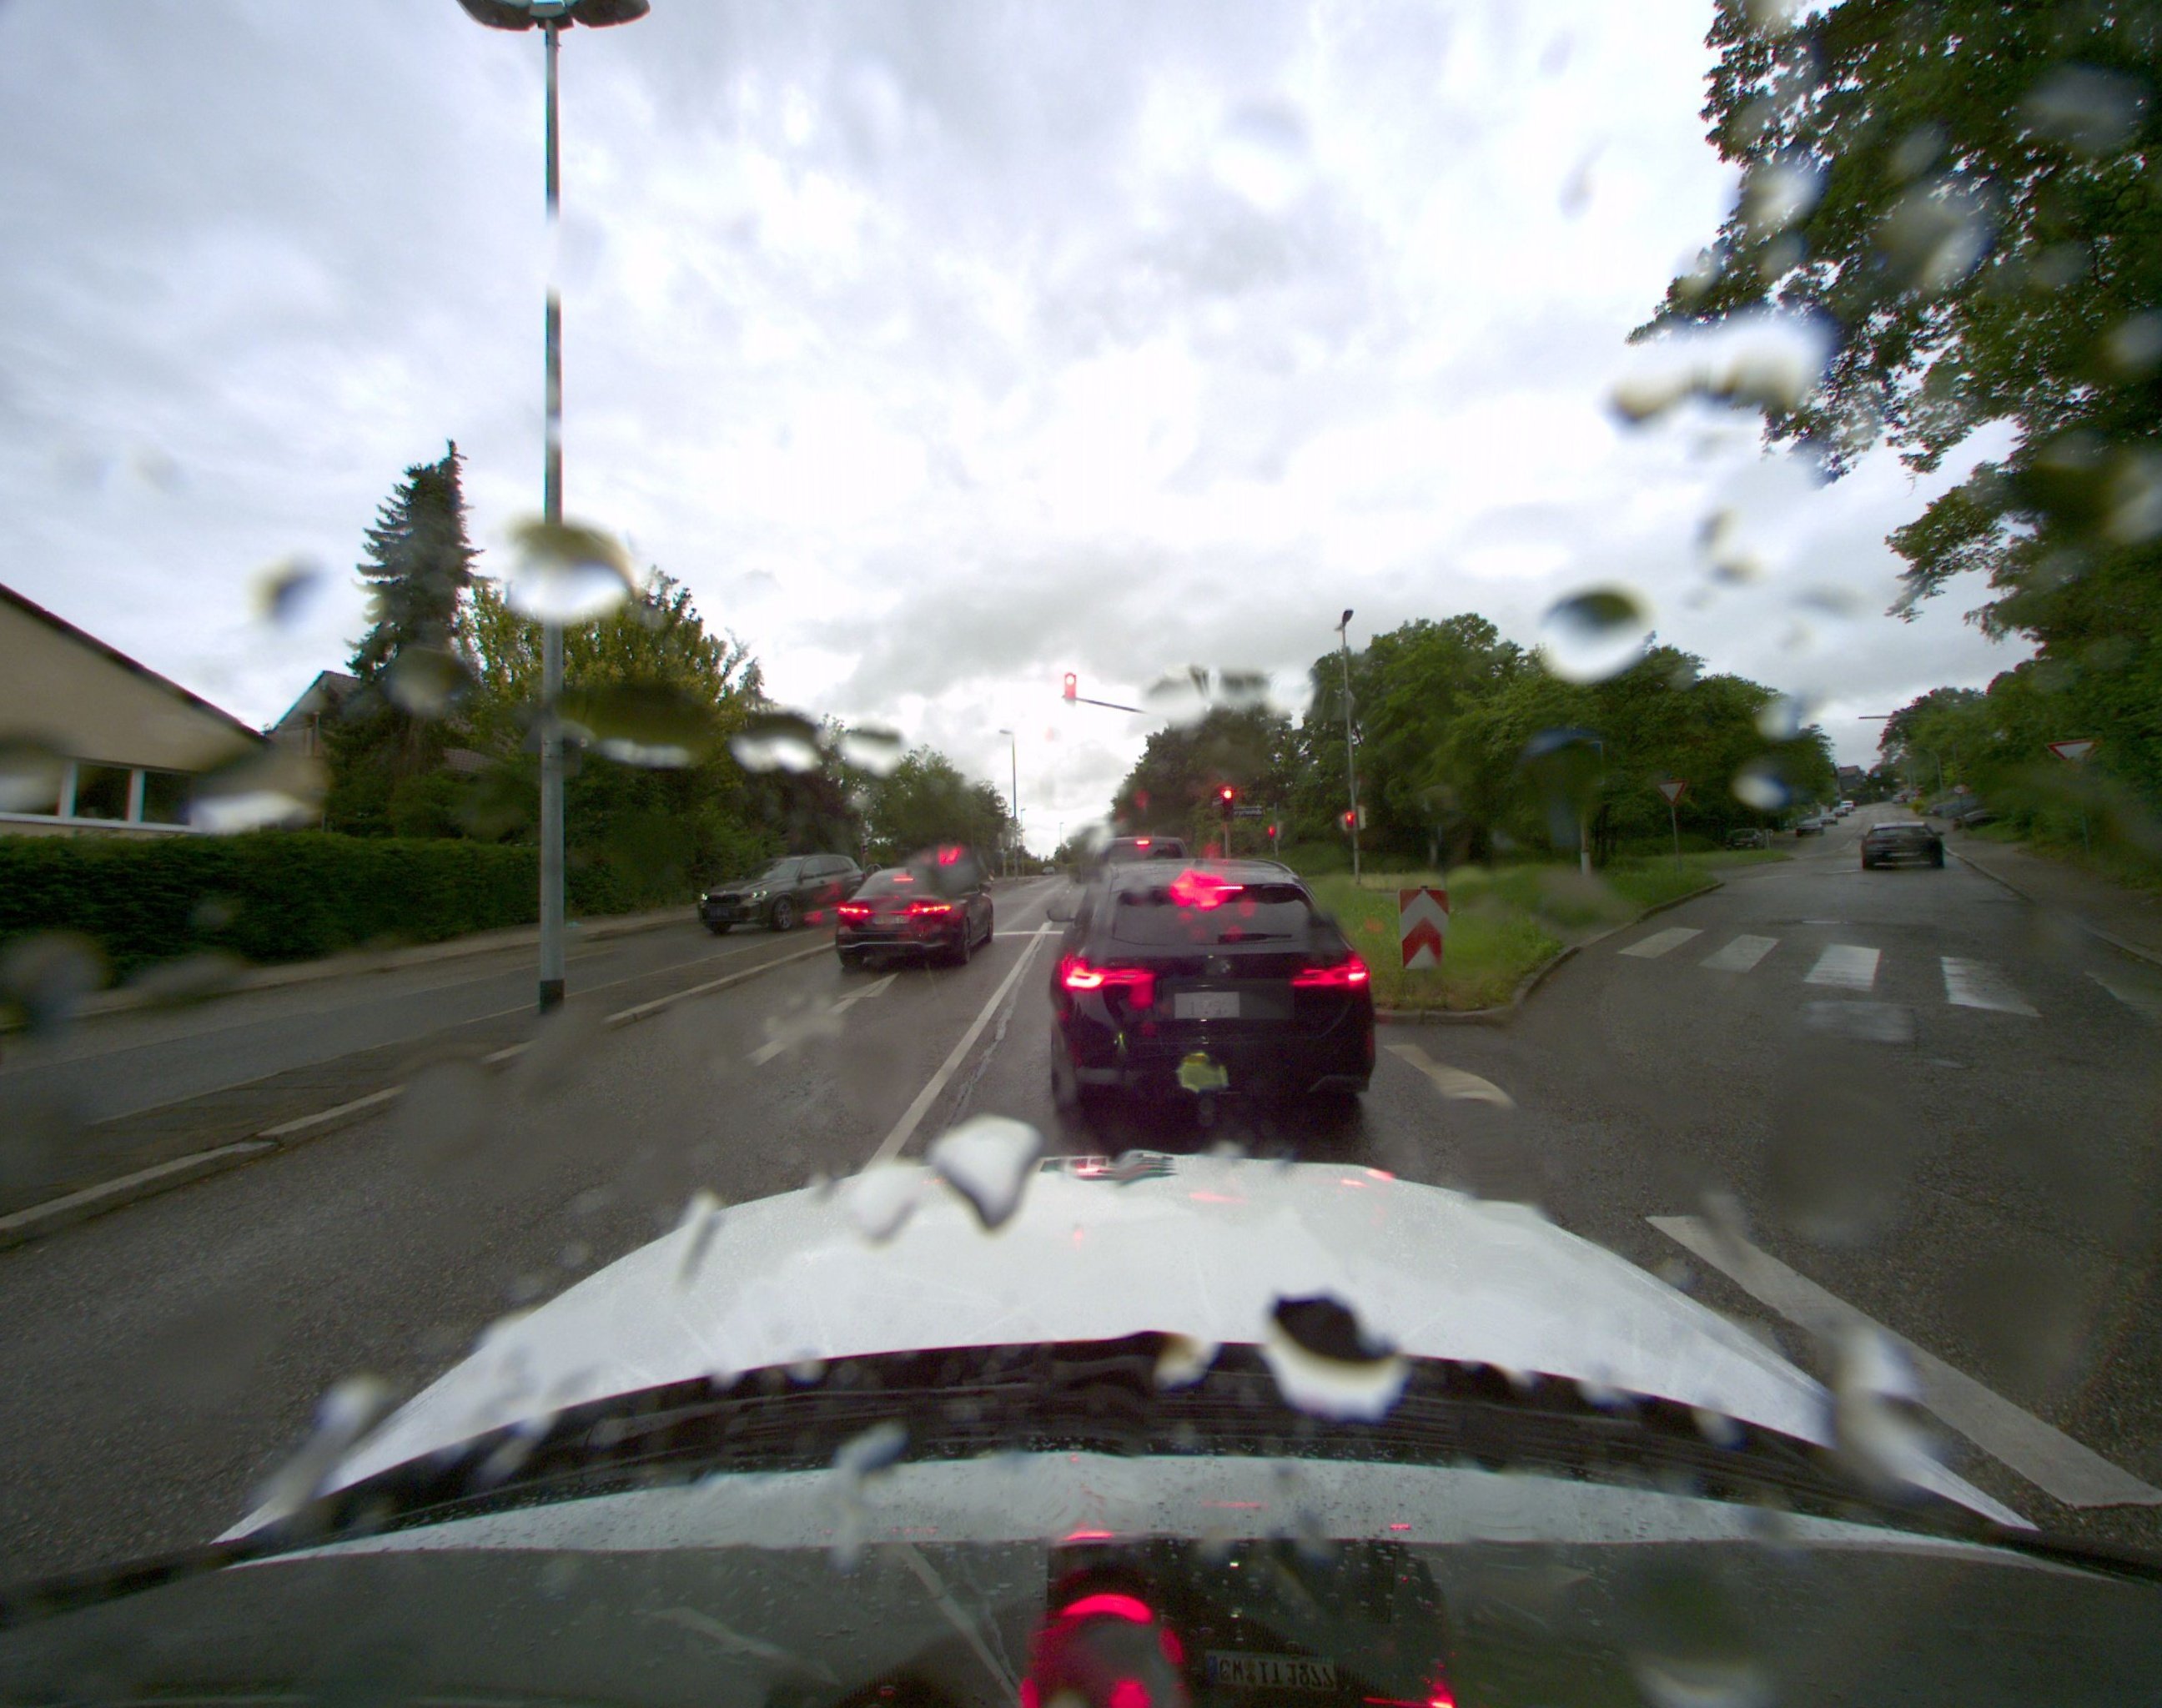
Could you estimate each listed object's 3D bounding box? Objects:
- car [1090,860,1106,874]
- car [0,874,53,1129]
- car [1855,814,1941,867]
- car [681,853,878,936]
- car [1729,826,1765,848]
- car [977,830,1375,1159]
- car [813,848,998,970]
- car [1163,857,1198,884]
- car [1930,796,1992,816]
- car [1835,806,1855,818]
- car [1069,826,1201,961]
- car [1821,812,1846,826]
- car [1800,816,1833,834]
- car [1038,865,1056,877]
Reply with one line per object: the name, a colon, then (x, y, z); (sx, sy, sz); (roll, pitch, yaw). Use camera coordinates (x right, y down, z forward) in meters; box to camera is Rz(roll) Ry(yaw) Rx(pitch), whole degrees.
car: (1.878, 1.387, 89.218); (1.691, 1.427, 3.515); (-4, -1, 2)
car: (-7.710, 0.981, 3.366); (1.737, 1.602, 4.030); (-3, 0, -1)
car: (26.315, -0.448, 26.252); (4.187, 1.442, 1.795); (-4, 1, -44)
car: (-7.274, 0.907, 20.287); (1.977, 1.717, 4.740); (-3, 0, 19)
car: (46.034, -1.158, 56.258); (1.655, 1.370, 3.512); (-3, 0, 43)
car: (0.657, 0.722, 6.236); (1.889, 1.551, 4.621); (-1, -1, 5)
car: (-2.600, 0.776, 13.211); (1.987, 1.527, 4.326); (-4, -1, 0)
car: (6.343, 1.019, 52.398); (1.866, 1.543, 3.954); (-4, -1, 2)
car: (87.625, -4.747, 81.148); (3.949, 1.574, 1.785); (-5, -1, 42)
car: (114.509, -6.286, 122.029); (1.880, 1.397, 4.193); (-2, -1, 40)
car: (0.841, 0.572, 13.441); (1.811, 1.868, 3.954); (-1, -1, 2)
car: (88.217, -4.103, 95.504); (1.971, 1.446, 4.321); (-2, -1, 40)
car: (66.286, -2.560, 73.375); (4.318, 1.450, 1.881); (0, -1, -44)
car: (-5.523, 2.751, 132.516); (1.982, 1.826, 4.009); (-4, -1, 8)
